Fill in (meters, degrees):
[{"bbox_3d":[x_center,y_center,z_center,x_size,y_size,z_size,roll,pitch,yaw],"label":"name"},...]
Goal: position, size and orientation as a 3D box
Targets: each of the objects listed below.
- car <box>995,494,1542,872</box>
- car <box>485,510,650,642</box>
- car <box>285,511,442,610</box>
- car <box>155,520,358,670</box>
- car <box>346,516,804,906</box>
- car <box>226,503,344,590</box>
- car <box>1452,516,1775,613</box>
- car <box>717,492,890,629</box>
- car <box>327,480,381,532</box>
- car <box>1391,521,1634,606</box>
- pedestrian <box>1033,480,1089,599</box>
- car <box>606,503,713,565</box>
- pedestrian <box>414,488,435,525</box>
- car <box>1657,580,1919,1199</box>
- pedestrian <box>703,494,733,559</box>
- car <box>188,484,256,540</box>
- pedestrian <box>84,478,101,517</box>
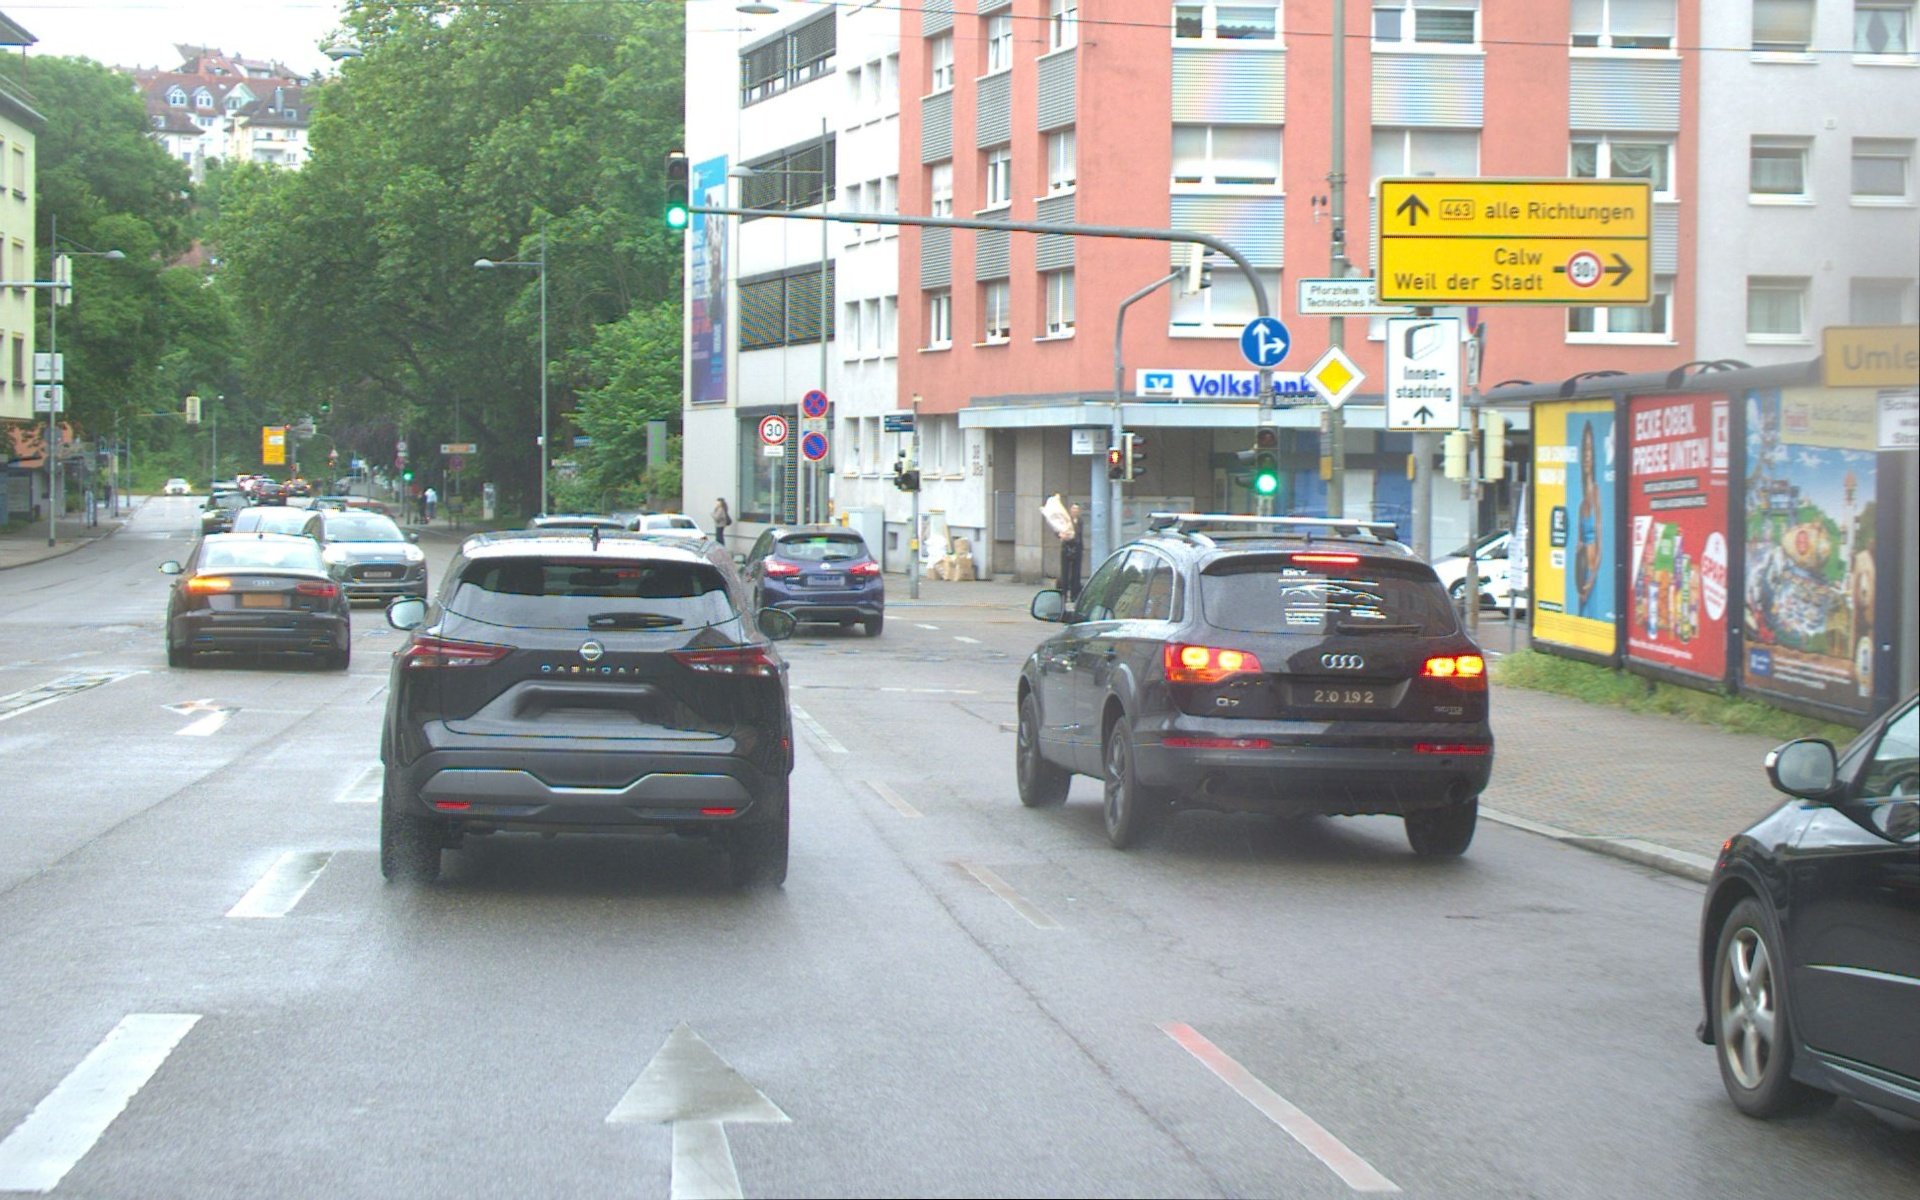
[{"bbox_3d":[1.580,0.367,19.652,2.020,1.863,4.901,1,1,-8],"label":"car"},{"bbox_3d":[-5.391,-0.366,46.824,1.945,1.679,4.001,-2,2,-10],"label":"car"},{"bbox_3d":[-9.828,-0.681,56.400,1.855,1.547,4.228,0,2,-19],"label":"car"},{"bbox_3d":[-7.683,-0.099,37.450,1.993,1.383,4.502,2,2,-12],"label":"car"},{"bbox_3d":[-1.868,0.437,16.533,1.894,1.623,4.001,1,1,-7],"label":"car"},{"bbox_3d":[-12.183,-0.968,61.899,1.933,1.521,4.136,0,1,-13],"label":"car"},{"bbox_3d":[10.323,-0.578,54.468,4.649,1.481,1.920,0,2,-9],"label":"car"},{"bbox_3d":[-2.259,-0.591,48.753,1.945,1.810,4.001,-2,2,-9],"label":"car"},{"bbox_3d":[-22.449,-3.487,127.271,1.820,1.790,3.867,2,2,-11],"label":"car"},{"bbox_3d":[9.833,-0.666,61.298,3.945,1.481,1.703,0,2,-7],"label":"car"},{"bbox_3d":[1.870,-1.129,63.737,0.825,2.151,0.770,2,2,-7],"label":"pedestrian"},{"bbox_3d":[-7.436,-1.654,84.718,1.774,1.396,4.582,-2,3,-16],"label":"car"},{"bbox_3d":[-26.236,-4.586,168.412,0.721,1.785,0.667,4,2,35],"label":"pedestrian"},{"bbox_3d":[3.123,0.714,7.997,1.783,1.492,4.057,1,0,-6],"label":"car"},{"bbox_3d":[-6.577,-2.005,93.361,0.612,1.731,0.681,-2,2,-20],"label":"pedestrian"},{"bbox_3d":[-25.926,-3.108,120.847,1.993,1.853,4.001,2,2,-8],"label":"car"},{"bbox_3d":[-40.896,-4.844,162.051,0.666,1.785,0.722,2,2,-20],"label":"pedestrian"}]
